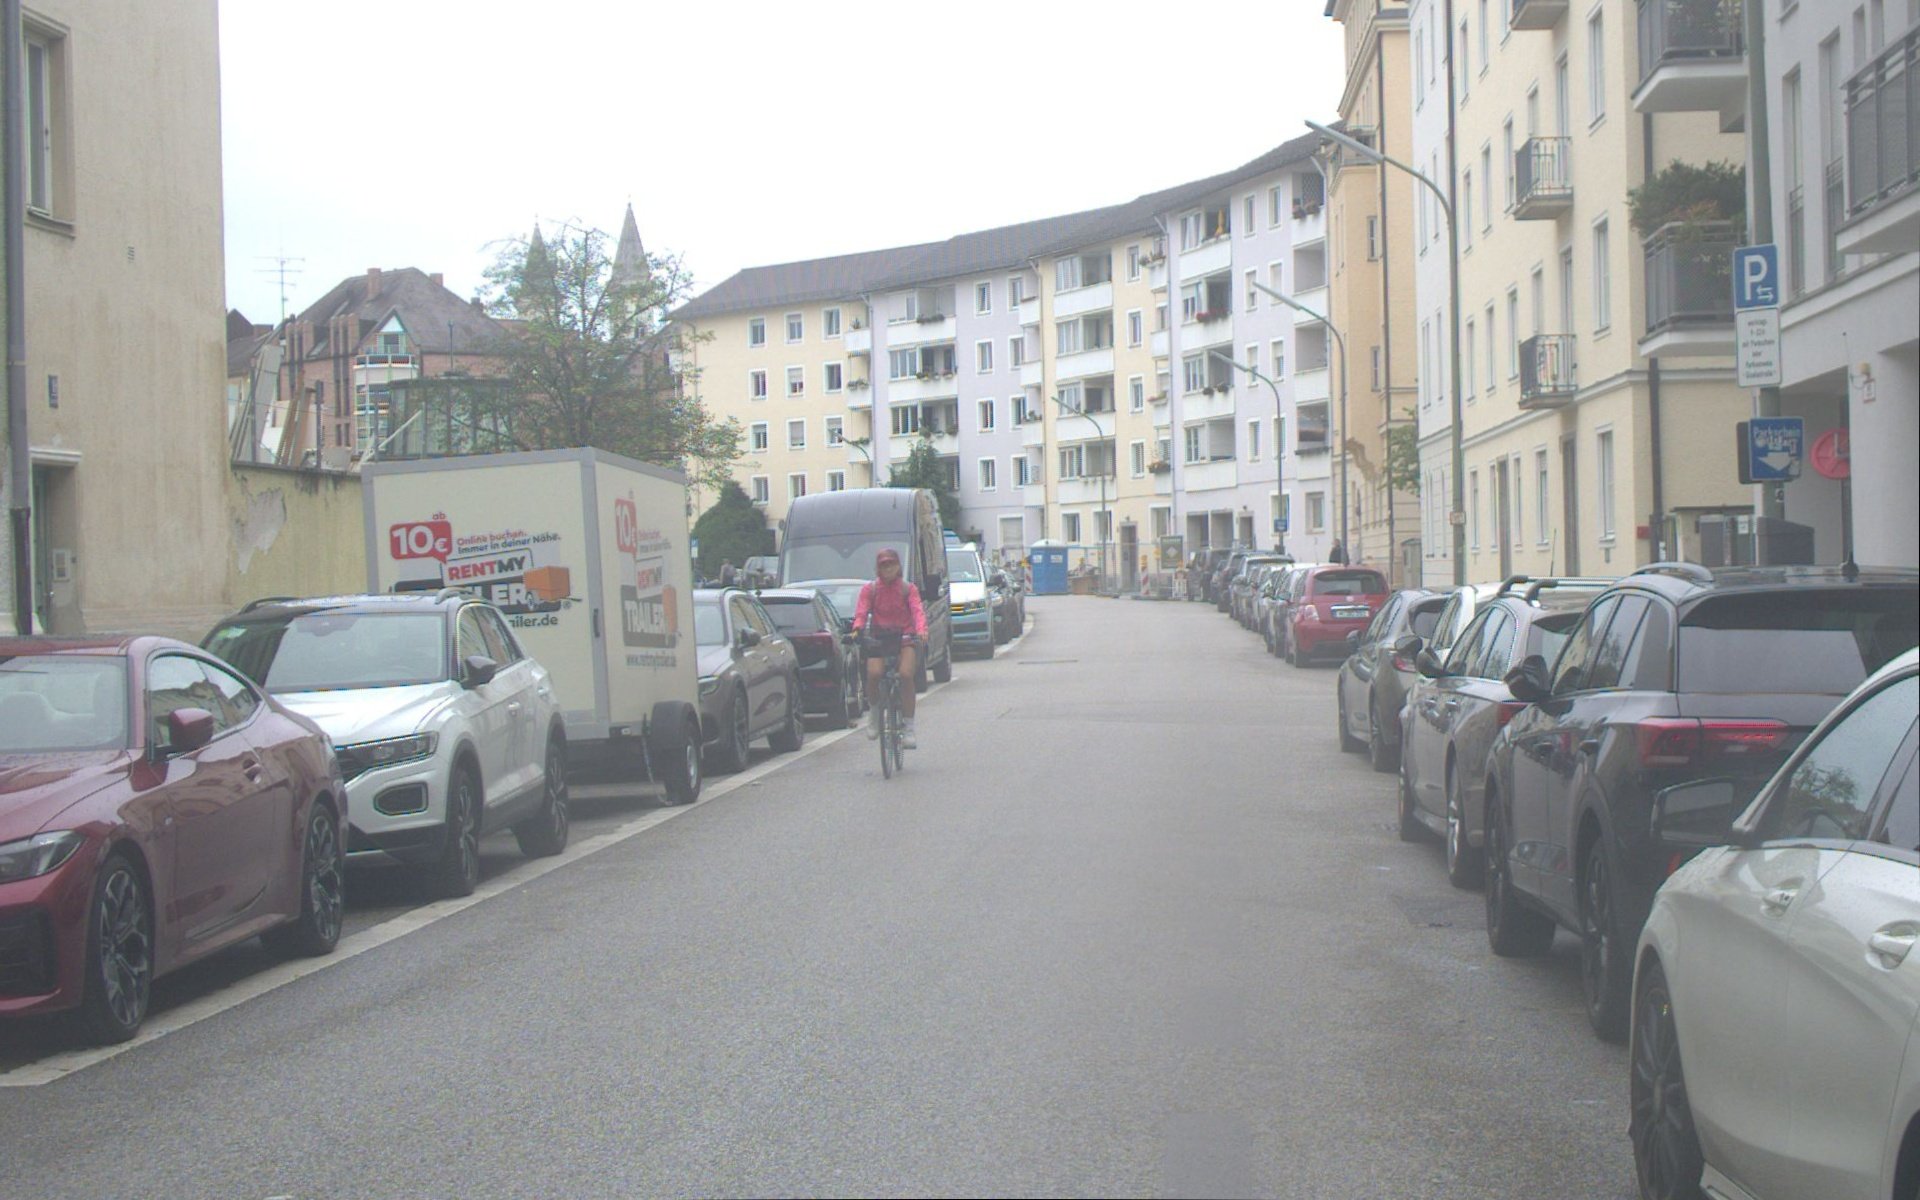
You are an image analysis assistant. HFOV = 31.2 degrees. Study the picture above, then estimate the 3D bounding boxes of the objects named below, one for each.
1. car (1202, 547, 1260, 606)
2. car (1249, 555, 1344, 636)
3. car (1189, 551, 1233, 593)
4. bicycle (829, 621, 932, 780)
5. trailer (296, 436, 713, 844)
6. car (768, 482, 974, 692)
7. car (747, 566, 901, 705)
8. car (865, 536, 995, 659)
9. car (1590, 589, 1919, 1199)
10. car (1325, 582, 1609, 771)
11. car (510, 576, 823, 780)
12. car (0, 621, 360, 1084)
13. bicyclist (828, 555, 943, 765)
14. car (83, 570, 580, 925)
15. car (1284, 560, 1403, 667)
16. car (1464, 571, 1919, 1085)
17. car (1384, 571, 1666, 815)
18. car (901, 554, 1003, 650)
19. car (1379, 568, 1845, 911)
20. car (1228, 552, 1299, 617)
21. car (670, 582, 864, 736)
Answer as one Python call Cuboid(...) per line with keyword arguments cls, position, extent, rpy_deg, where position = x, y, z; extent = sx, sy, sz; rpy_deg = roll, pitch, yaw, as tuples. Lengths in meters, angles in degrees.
Cuboid(cls="car", position=(7.621, -0.681, 97.064), extent=(1.474, 1.635, 4.001), rpy_deg=(0, 1, 2))
Cuboid(cls="car", position=(6.586, -0.106, 67.574), extent=(1.599, 1.486, 3.799), rpy_deg=(-1, 1, 2))
Cuboid(cls="car", position=(7.932, -0.887, 108.750), extent=(1.272, 1.294, 2.797), rpy_deg=(-1, 1, 2))
Cuboid(cls="bicycle", position=(-0.595, 0.748, 26.281), extent=(0.504, 1.124, 1.773), rpy_deg=(-2, 1, 7))
Cuboid(cls="trailer", position=(-2.996, 0.219, 23.581), extent=(1.709, 2.453, 4.385), rpy_deg=(-3, 1, 6))
Cuboid(cls="car", position=(-1.116, -0.223, 46.217), extent=(2.088, 2.627, 5.376), rpy_deg=(-1, 1, 5))
Cuboid(cls="car", position=(-1.581, 0.426, 40.838), extent=(1.585, 1.533, 3.543), rpy_deg=(-2, -1, 1))
Cuboid(cls="car", position=(-0.473, -0.086, 58.836), extent=(1.883, 1.925, 4.601), rpy_deg=(-3, 1, 3))
Cuboid(cls="car", position=(2.269, 0.735, 6.138), extent=(1.658, 1.435, 4.206), rpy_deg=(1, 1, 3))
Cuboid(cls="car", position=(4.019, 0.567, 27.835), extent=(1.763, 1.403, 4.078), rpy_deg=(-1, 0, 1))
Cuboid(cls="car", position=(-2.437, 0.612, 29.692), extent=(1.767, 1.533, 4.540), rpy_deg=(-3, 0, 6))
Cuboid(cls="car", position=(-3.675, 0.841, 12.879), extent=(1.861, 1.408, 4.333), rpy_deg=(-3, 0, 2))
Cuboid(cls="bicyclist", position=(-0.565, 0.445, 26.367), extent=(0.694, 1.556, 0.966), rpy_deg=(-2, 1, 7))
Cuboid(cls="car", position=(-3.229, 0.689, 18.417), extent=(1.687, 1.597, 3.921), rpy_deg=(-3, 1, 3))
Cuboid(cls="car", position=(5.736, 0.176, 51.726), extent=(1.595, 1.503, 3.800), rpy_deg=(-1, 1, 4))
Cuboid(cls="car", position=(2.850, 0.682, 12.415), extent=(1.604, 1.525, 3.984), rpy_deg=(1, 1, 3))
Cuboid(cls="car", position=(3.807, 0.577, 23.602), extent=(1.519, 1.525, 3.526), rpy_deg=(0, 1, 3))
Cuboid(cls="car", position=(-0.118, 0.012, 66.619), extent=(1.702, 1.685, 4.028), rpy_deg=(-3, 1, 3))
Cuboid(cls="car", position=(3.274, 0.619, 18.112), extent=(1.734, 1.525, 4.621), rpy_deg=(1, 1, 3))
Cuboid(cls="car", position=(7.662, -0.403, 87.013), extent=(1.590, 1.577, 4.299), rpy_deg=(0, 1, 2))
Cuboid(cls="car", position=(-1.962, 0.570, 35.882), extent=(1.701, 1.441, 3.825), rpy_deg=(0, 1, 1))
